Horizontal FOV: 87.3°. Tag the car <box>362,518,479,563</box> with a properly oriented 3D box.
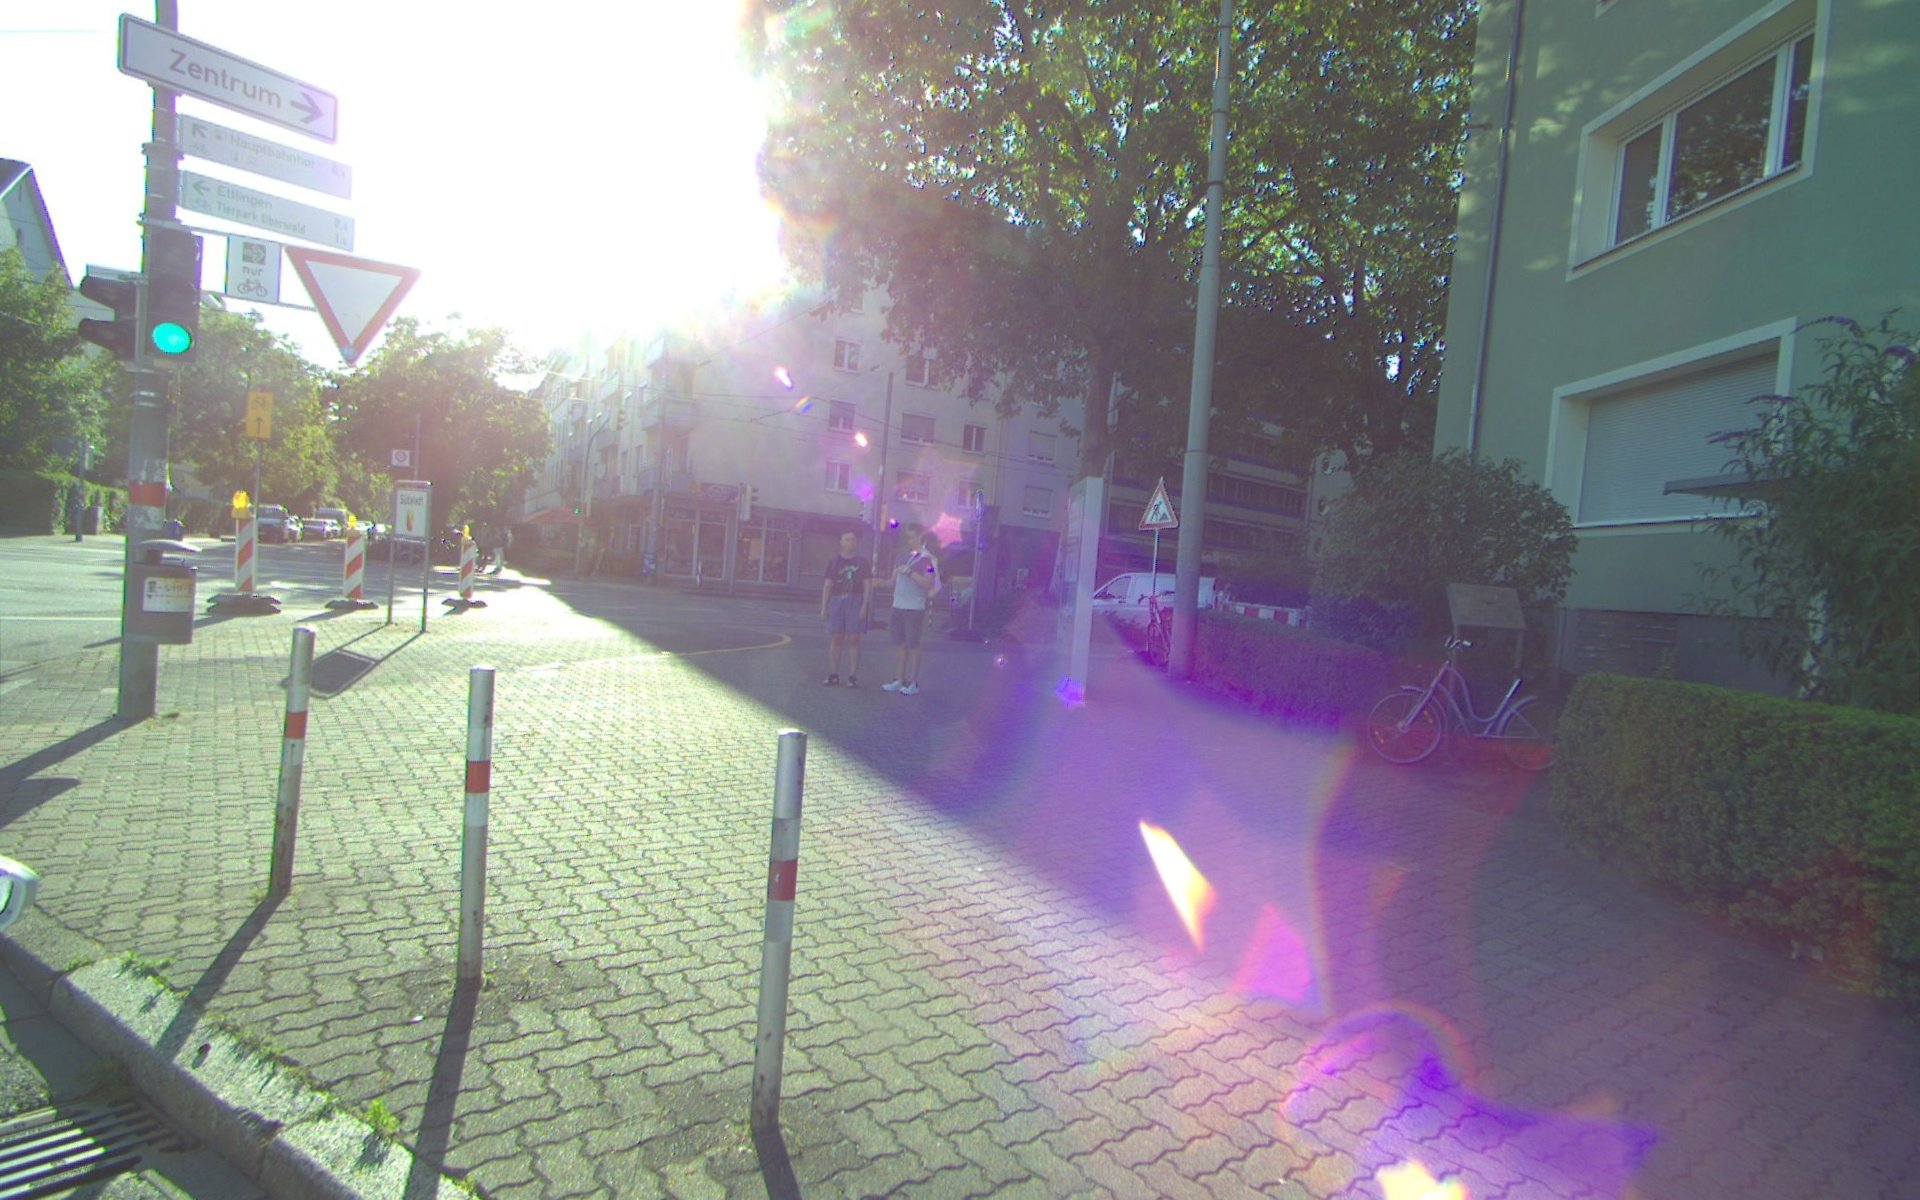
[{"bbox_3d":[-30.219,-3.263,56.381,5.576,1.948,2.344,4,0,-32],"label":"car"}]

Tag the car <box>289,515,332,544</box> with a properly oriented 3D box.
[{"bbox_3d":[-46.824,-5.085,72.618,2.336,1.818,5.265,4,2,-31],"label":"car"}]

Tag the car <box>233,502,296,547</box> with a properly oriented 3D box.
[{"bbox_3d":[-37.105,-4.008,53.832,2.336,2.040,5.265,4,2,-31],"label":"car"}]

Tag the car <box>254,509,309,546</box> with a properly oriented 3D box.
[{"bbox_3d":[-39.939,-4.260,59.305,2.336,1.818,5.265,4,2,-31],"label":"car"}]

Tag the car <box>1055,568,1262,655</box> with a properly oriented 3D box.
[{"bbox_3d":[4.974,0.241,25.970,1.913,1.849,5.186,5,0,-37],"label":"car"}]

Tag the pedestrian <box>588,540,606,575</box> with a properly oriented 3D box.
[{"bbox_3d":[-17.675,-2.064,49.012,0.472,1.613,0.614,7,3,45],"label":"pedestrian"}]

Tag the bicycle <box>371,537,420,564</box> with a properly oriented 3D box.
[{"bbox_3d":[-23.459,-2.069,41.856,1.708,0.945,0.667,4,2,-29],"label":"bicycle"}]

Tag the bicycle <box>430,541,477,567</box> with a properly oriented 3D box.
[{"bbox_3d":[-21.360,-1.942,42.448,1.708,0.945,0.557,4,2,-29],"label":"bicycle"}]

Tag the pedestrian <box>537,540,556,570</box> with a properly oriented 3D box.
[{"bbox_3d":[-20.581,-2.234,50.046,0.803,1.381,0.908,4,2,-23],"label":"pedestrian"}]

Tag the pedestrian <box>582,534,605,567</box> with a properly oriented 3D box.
[{"bbox_3d":[-18.084,-2.437,49.639,0.805,1.565,0.905,3,3,-35],"label":"pedestrian"}]

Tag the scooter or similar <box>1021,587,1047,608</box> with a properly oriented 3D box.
[{"bbox_3d":[3.838,-0.118,51.963,1.421,0.966,0.462,3,3,-44],"label":"scooter or similar"}]

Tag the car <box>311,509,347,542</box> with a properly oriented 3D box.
[{"bbox_3d":[-54.188,-6.408,86.485,2.336,2.548,5.265,4,2,-31],"label":"car"}]

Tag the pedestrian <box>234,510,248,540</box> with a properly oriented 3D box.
[{"bbox_3d":[-42.954,-4.484,60.097,0.575,1.754,0.602,4,3,-34],"label":"pedestrian"}]

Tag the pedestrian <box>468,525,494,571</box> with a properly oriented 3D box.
[{"bbox_3d":[-19.116,-2.077,40.155,0.707,1.774,0.792,4,2,-13],"label":"pedestrian"}]

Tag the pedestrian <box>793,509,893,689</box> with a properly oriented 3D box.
[{"bbox_3d":[-1.211,-0.013,10.562,0.680,1.774,0.794,5,2,13],"label":"pedestrian"}]

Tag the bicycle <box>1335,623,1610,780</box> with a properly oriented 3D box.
[{"bbox_3d":[4.224,0.820,8.385,1.897,1.071,0.521,5,2,5],"label":"bicycle"}]

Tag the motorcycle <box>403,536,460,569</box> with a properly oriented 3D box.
[{"bbox_3d":[-21.397,-1.918,40.724,1.938,1.124,0.830,4,2,-34],"label":"motorcycle"}]

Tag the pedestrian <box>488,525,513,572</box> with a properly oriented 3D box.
[{"bbox_3d":[-18.291,-2.039,40.057,0.682,1.774,0.791,4,2,-18],"label":"pedestrian"}]

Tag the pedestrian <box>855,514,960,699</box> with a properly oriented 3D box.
[{"bbox_3d":[-0.528,0.064,10.359,0.680,1.774,0.794,6,2,21],"label":"pedestrian"}]

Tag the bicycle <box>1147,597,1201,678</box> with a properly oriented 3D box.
[{"bbox_3d":[3.133,0.511,14.840,0.511,1.071,1.933,5,1,7],"label":"bicycle"}]

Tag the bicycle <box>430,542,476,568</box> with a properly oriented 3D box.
[{"bbox_3d":[-21.729,-1.915,43.120,1.708,0.945,0.557,4,2,-29],"label":"bicycle"}]

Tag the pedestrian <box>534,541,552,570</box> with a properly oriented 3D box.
[{"bbox_3d":[-21.221,-2.266,51.202,0.802,1.381,0.908,4,2,-23],"label":"pedestrian"}]

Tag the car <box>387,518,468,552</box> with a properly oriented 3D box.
[{"bbox_3d":[-39.135,-4.717,73.965,5.050,1.948,2.344,4,0,-32],"label":"car"}]
